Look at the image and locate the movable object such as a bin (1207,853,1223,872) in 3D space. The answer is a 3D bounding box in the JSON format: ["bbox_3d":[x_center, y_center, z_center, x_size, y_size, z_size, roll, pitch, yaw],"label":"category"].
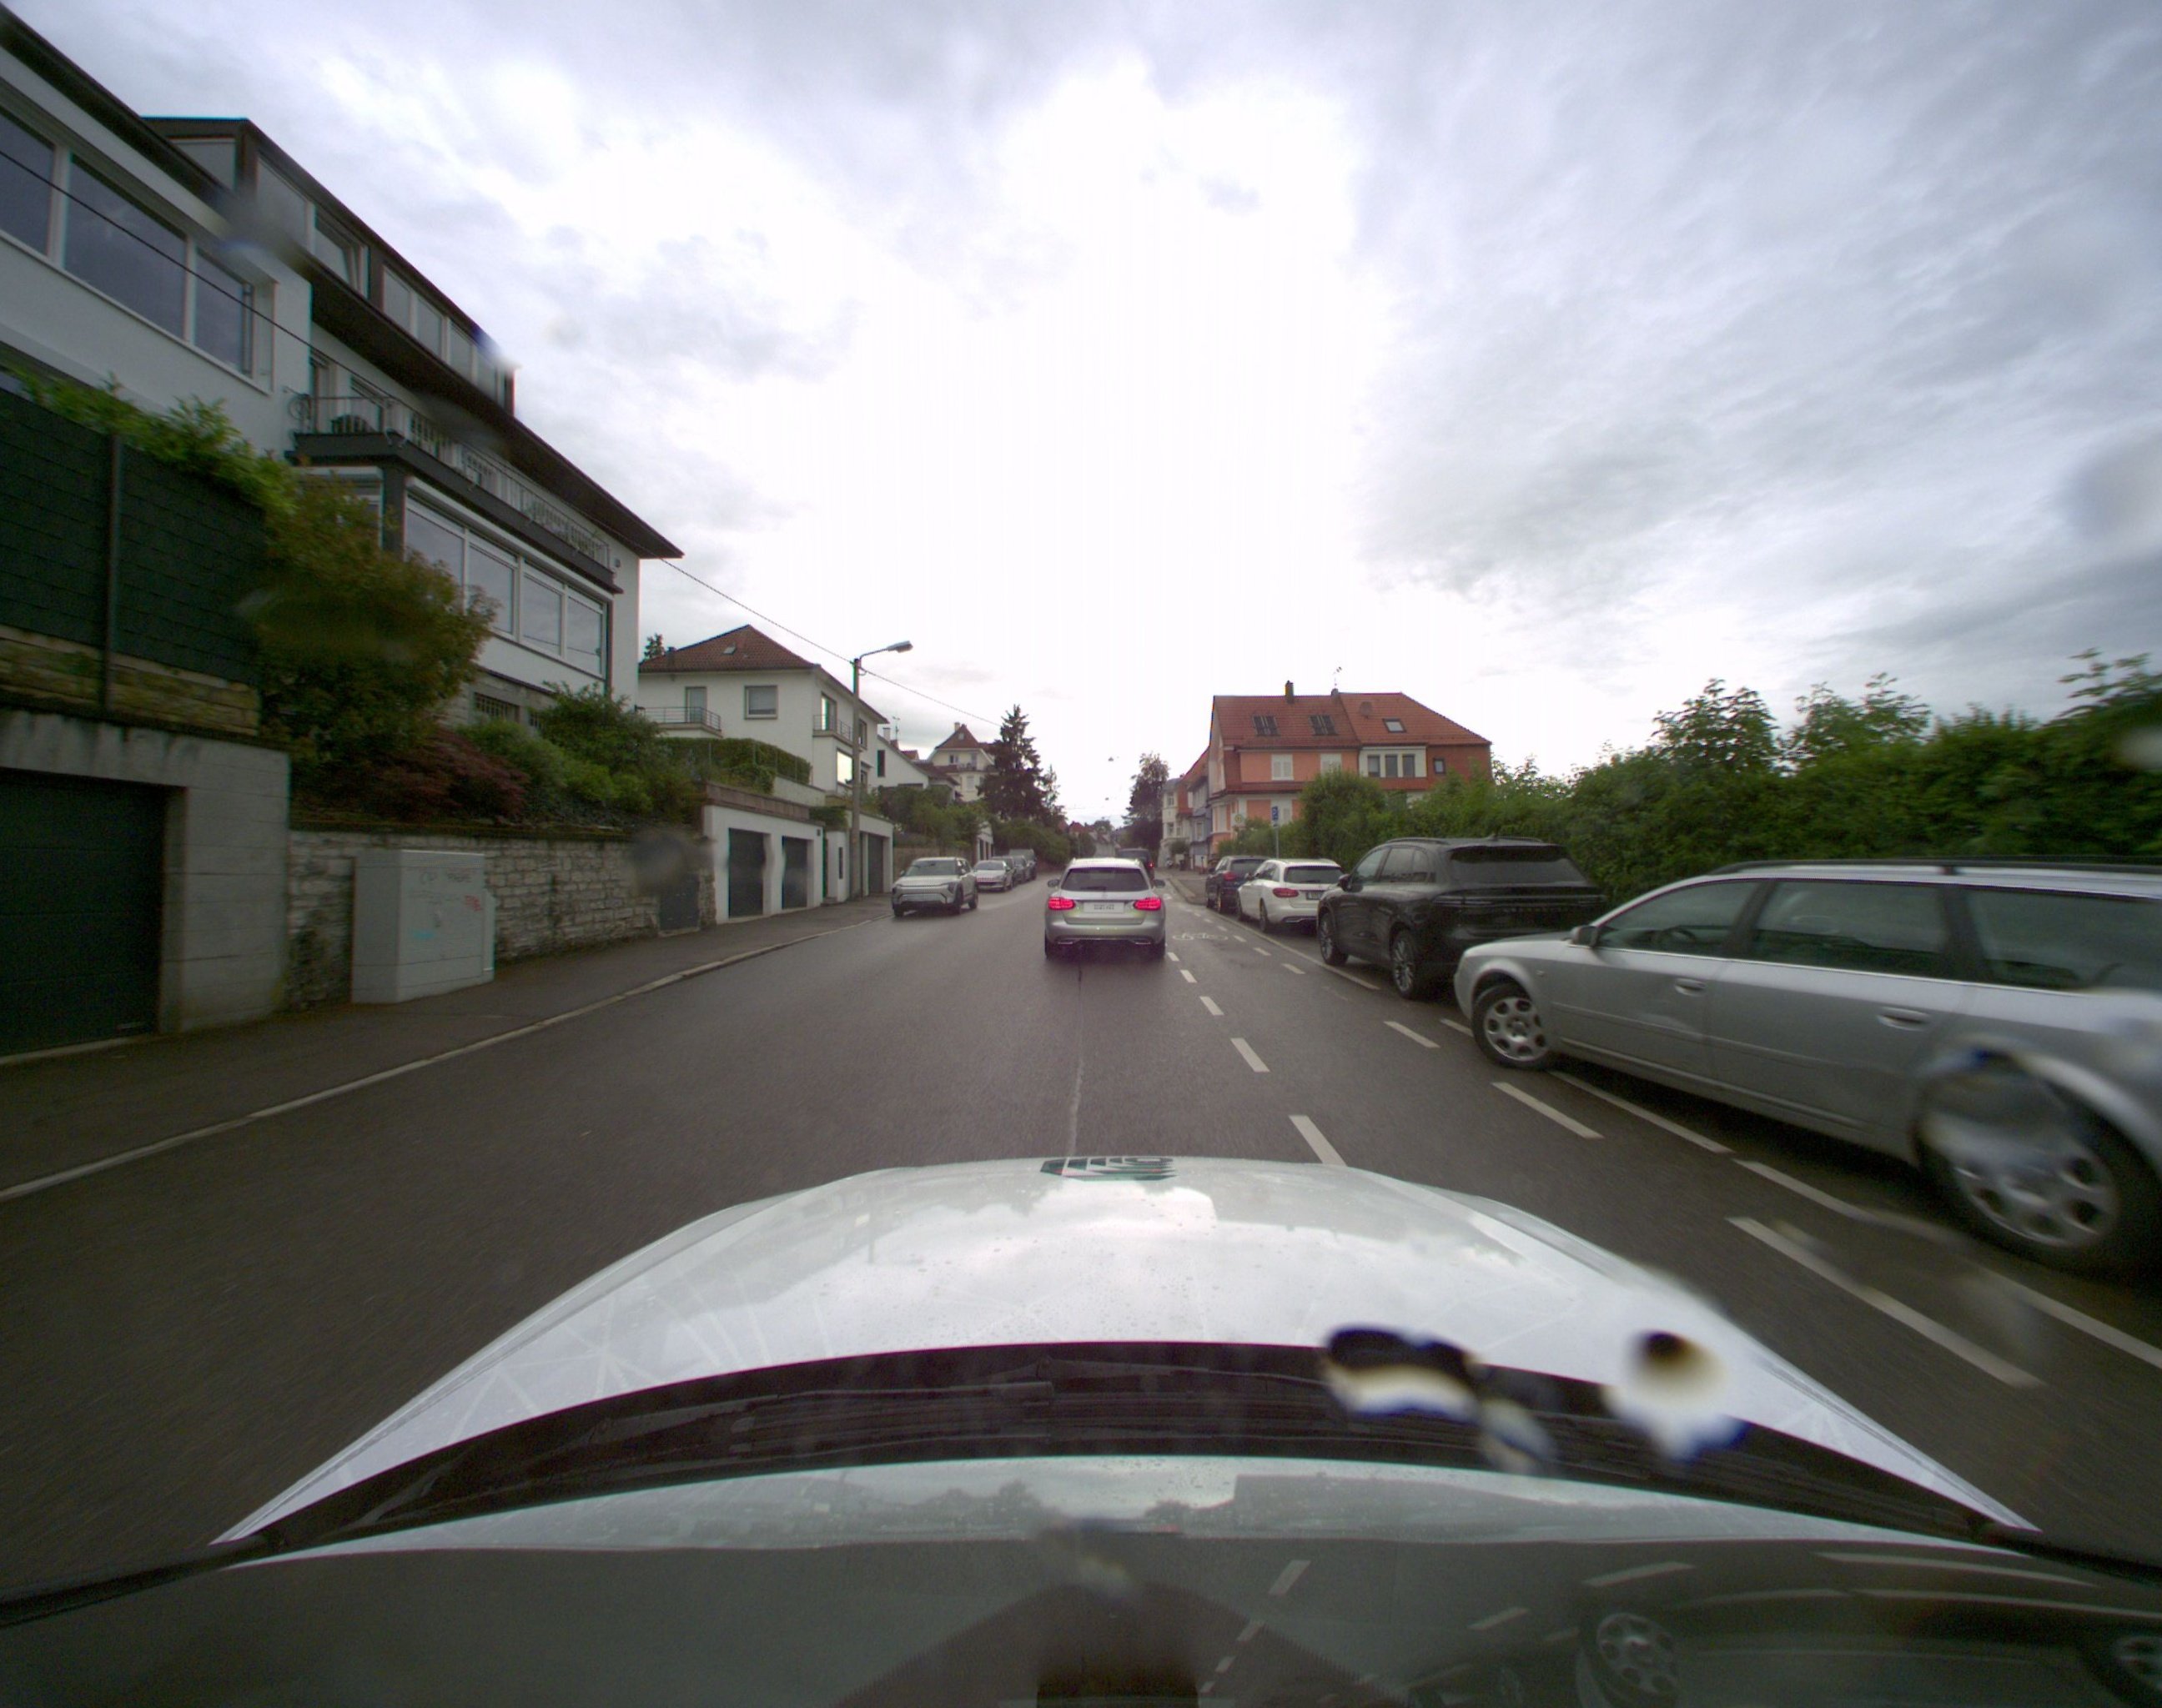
[{"bbox_3d":[7.727,0.483,46.976,0.709,1.029,0.757,-4,0,0],"label":"movable object such as a bin"}]

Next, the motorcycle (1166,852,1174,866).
[{"bbox_3d":[8.362,0.474,76.292,0.579,1.261,2.334,-4,0,5],"label":"motorcycle"}]

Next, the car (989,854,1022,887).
[{"bbox_3d":[-3.802,0.811,41.314,1.493,1.524,3.156,-1,1,-3],"label":"car"}]

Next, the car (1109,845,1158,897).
[{"bbox_3d":[2.298,0.676,35.371,1.816,1.882,4.100,-6,1,4],"label":"car"}]

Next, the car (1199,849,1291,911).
[{"bbox_3d":[4.443,0.649,22.659,1.747,1.530,4.207,-1,0,1],"label":"car"}]

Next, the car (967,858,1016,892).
[{"bbox_3d":[-3.957,0.910,36.536,1.603,1.337,3.843,-1,1,2],"label":"car"}]

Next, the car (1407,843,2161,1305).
[{"bbox_3d":[3.981,0.693,4.440,1.800,1.440,4.623,-2,1,-12],"label":"car"}]

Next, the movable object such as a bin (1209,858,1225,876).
[{"bbox_3d":[7.531,0.728,45.030,0.573,0.969,0.663,0,0,-31],"label":"movable object such as a bin"}]

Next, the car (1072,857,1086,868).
[{"bbox_3d":[-0.271,1.296,125.725,2.110,1.471,4.017,-1,0,1],"label":"car"}]

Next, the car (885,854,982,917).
[{"bbox_3d":[-4.176,0.830,23.749,1.891,1.567,4.240,-2,0,2],"label":"car"}]

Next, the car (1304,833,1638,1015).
[{"bbox_3d":[4.245,0.626,9.835,1.881,1.662,4.548,-1,0,0],"label":"car"}]

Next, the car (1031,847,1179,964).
[{"bbox_3d":[0.439,0.682,13.113,1.974,1.553,4.301,-1,0,3],"label":"car"}]

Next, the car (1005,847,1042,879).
[{"bbox_3d":[-3.620,0.528,52.001,2.123,1.860,5.589,-1,0,-2],"label":"car"}]

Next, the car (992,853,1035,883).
[{"bbox_3d":[-3.769,0.749,45.987,1.891,1.515,4.344,-1,1,2],"label":"car"}]

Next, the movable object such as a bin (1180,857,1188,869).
[{"bbox_3d":[8.394,0.724,66.548,0.547,0.936,0.634,-5,0,2],"label":"movable object such as a bin"}]

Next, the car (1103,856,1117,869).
[{"bbox_3d":[5.972,1.704,167.806,2.458,2.399,4.002,-5,0,2],"label":"car"}]

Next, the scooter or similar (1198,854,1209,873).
[{"bbox_3d":[8.244,0.621,54.644,0.688,1.224,1.303,-2,0,10],"label":"scooter or similar"}]

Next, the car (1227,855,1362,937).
[{"bbox_3d":[4.324,0.765,17.197,1.707,1.405,4.609,-1,1,1],"label":"car"}]
